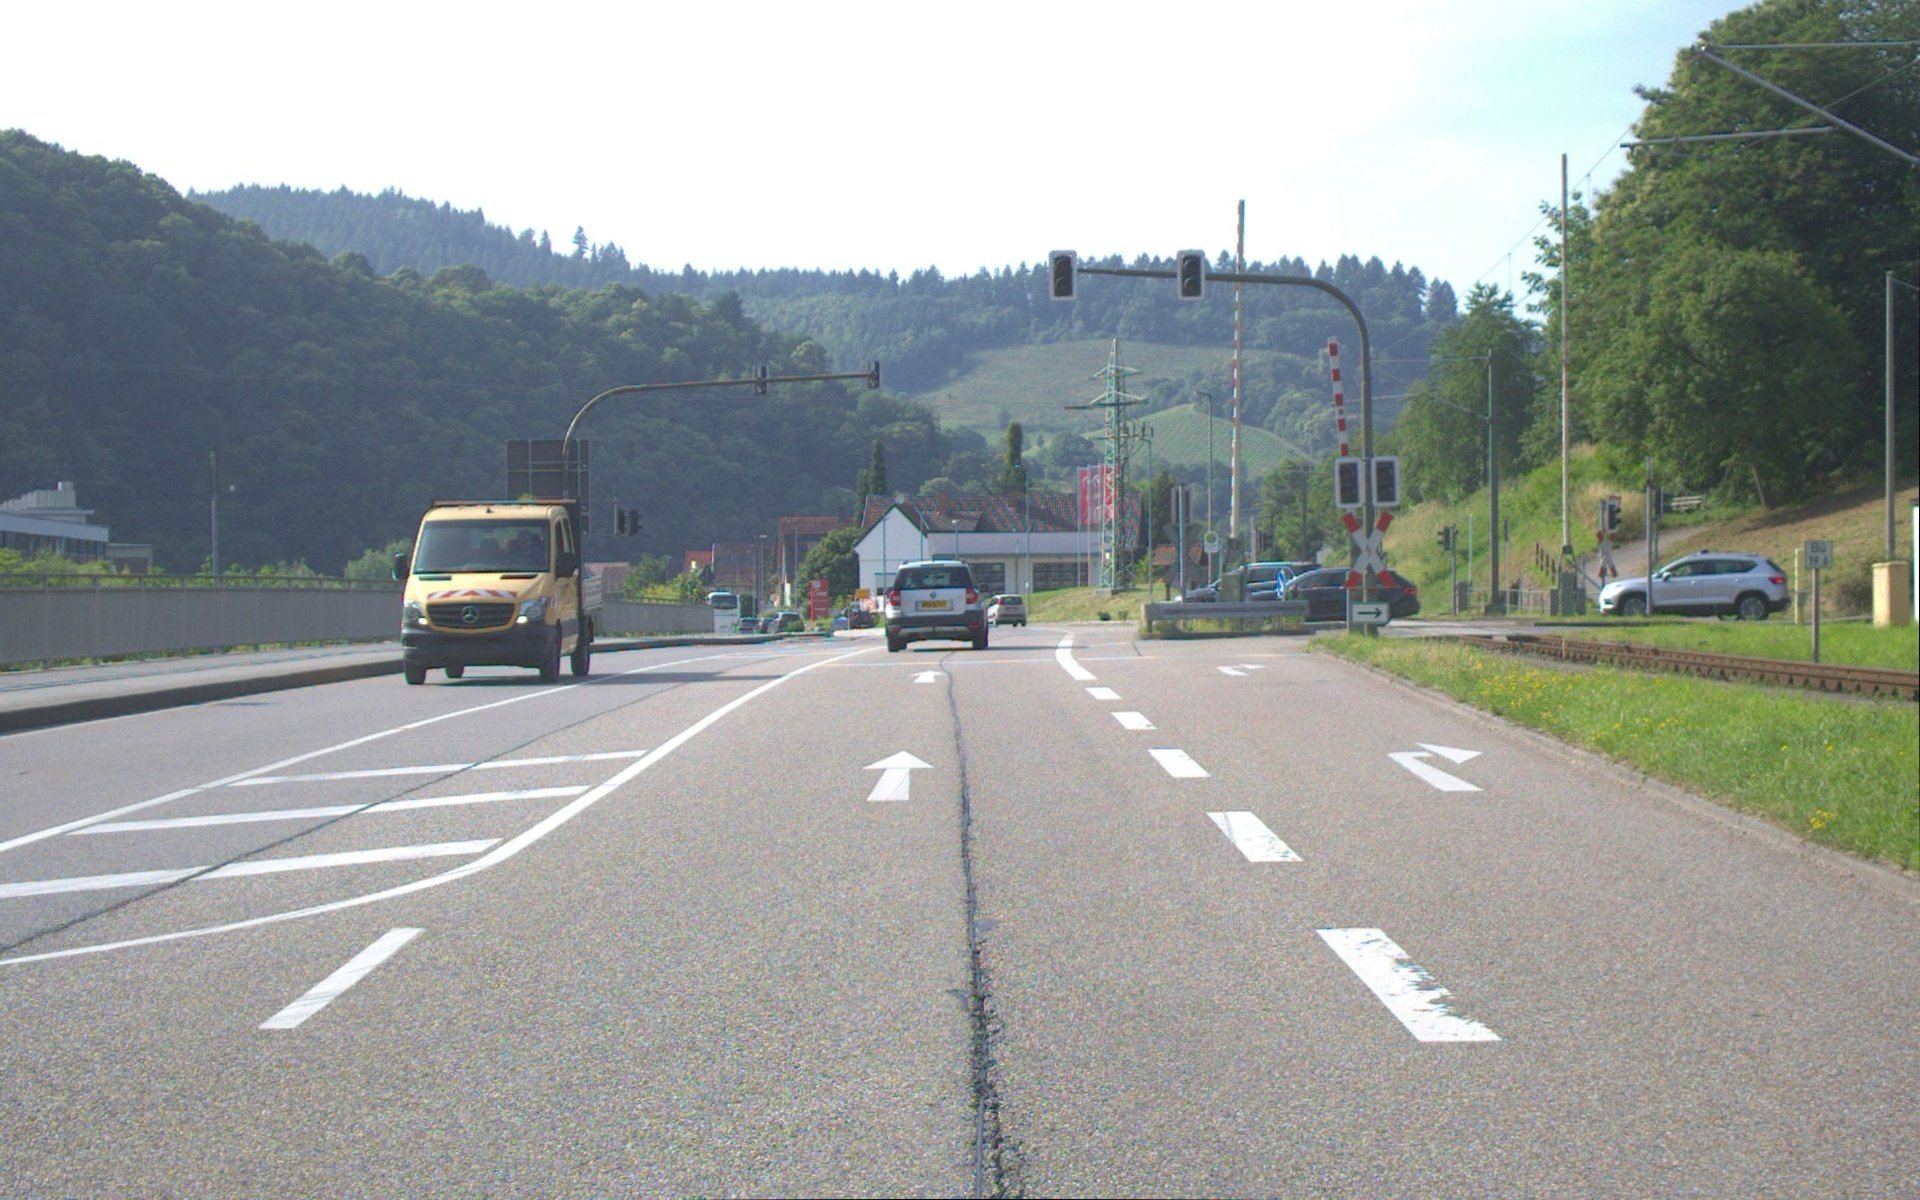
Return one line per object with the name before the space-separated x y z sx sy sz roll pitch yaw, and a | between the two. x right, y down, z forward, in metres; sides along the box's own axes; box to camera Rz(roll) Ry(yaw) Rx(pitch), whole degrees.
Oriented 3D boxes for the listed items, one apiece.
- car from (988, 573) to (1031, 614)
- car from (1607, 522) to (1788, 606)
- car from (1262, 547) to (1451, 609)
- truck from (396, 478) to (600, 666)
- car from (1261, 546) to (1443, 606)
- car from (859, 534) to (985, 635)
car | 2.484 -0.332 172.683 1.993 2.007 4.000 -1 1 -1
car | 17.045 -0.831 79.372 3.989 1.875 1.876 0 1 15
car | 8.969 -0.502 77.674 3.989 1.350 1.876 0 1 15
truck | -6.079 -0.399 45.903 1.993 2.335 5.698 -1 1 -1
car | 9.161 -0.561 80.210 3.989 1.350 1.876 0 1 15
car | -0.661 -0.293 63.084 1.994 1.718 3.990 -2 0 3
